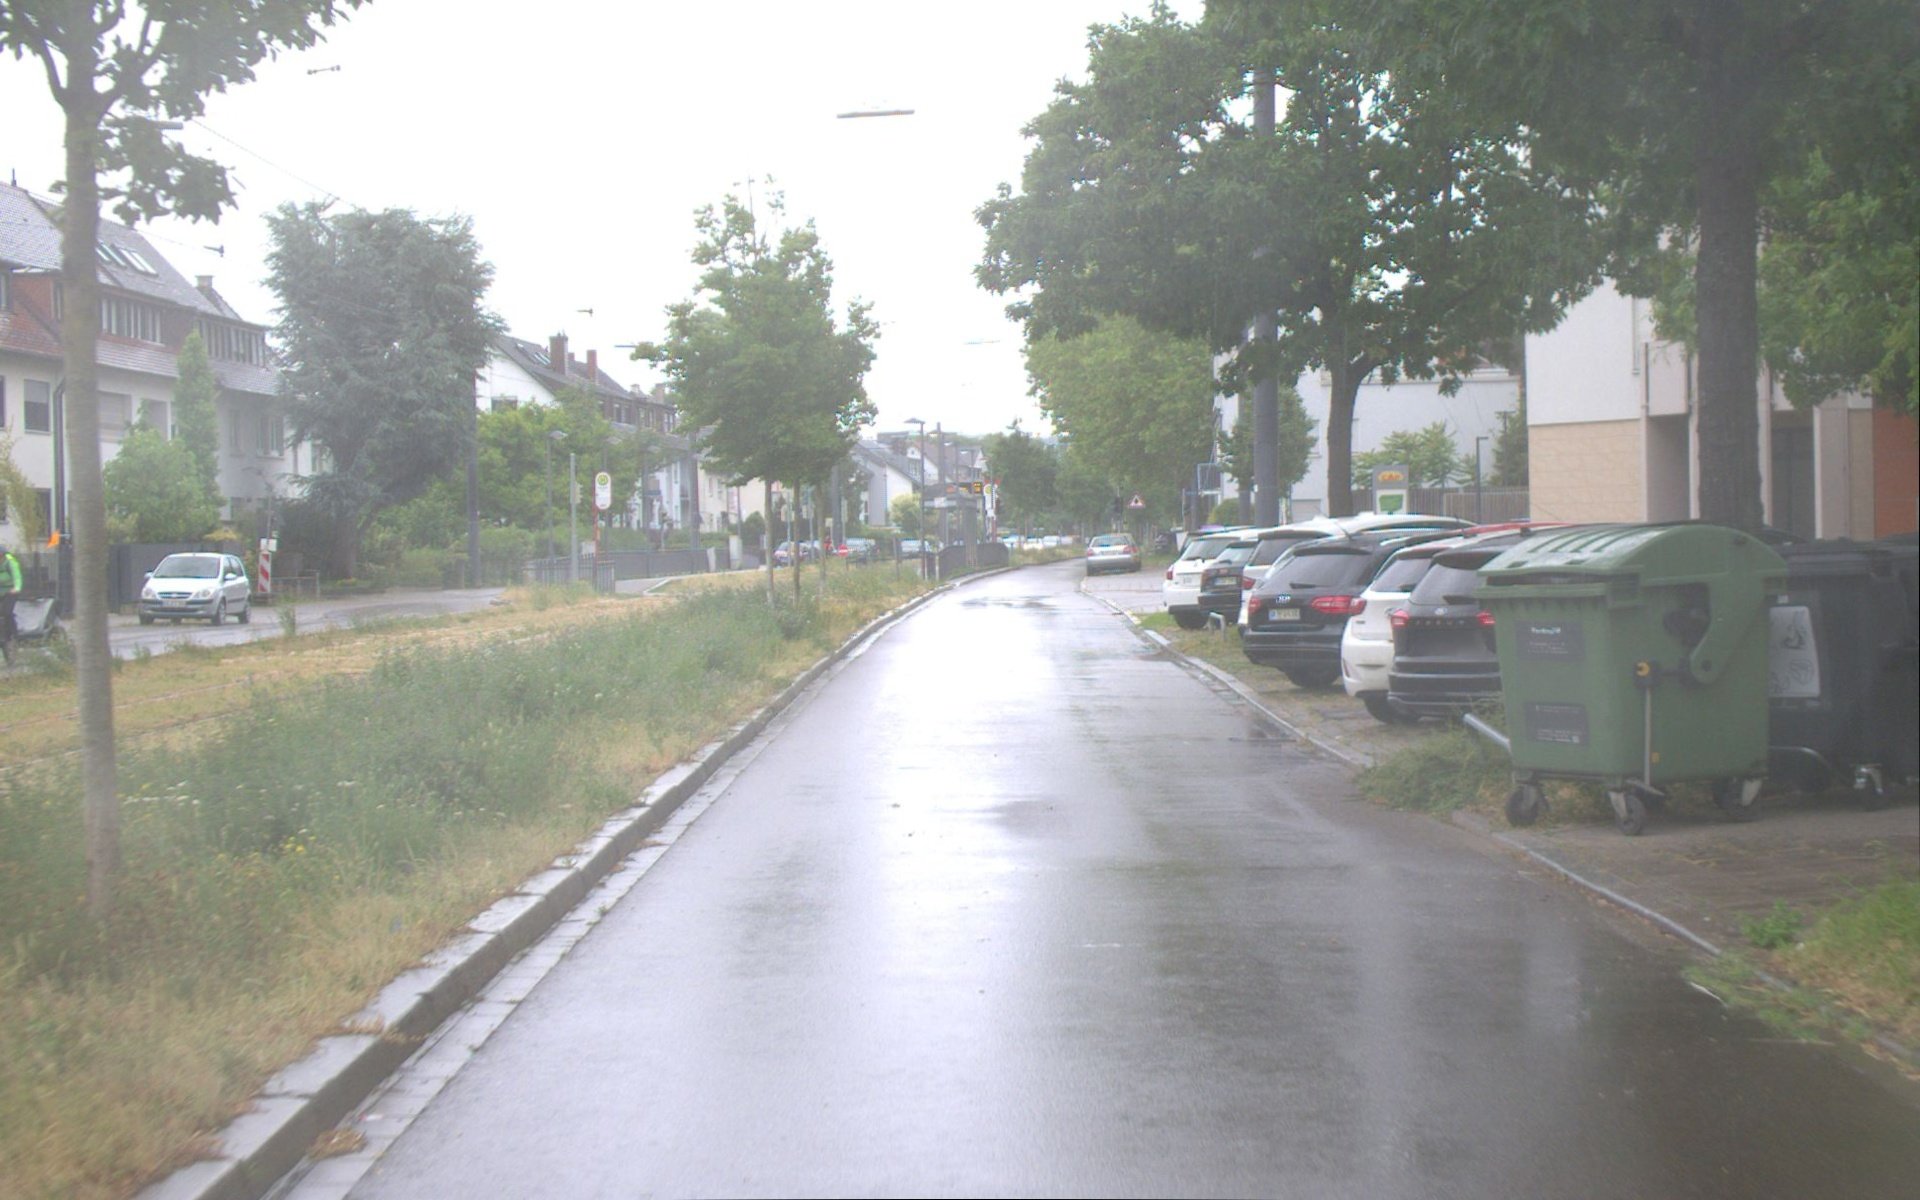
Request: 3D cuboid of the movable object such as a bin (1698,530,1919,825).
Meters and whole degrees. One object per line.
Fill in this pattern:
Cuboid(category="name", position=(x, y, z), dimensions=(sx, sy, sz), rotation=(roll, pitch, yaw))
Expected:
Cuboid(category="movable object such as a bin", position=(4.826, 0.336, 17.144), dimensions=(1.681, 1.321, 1.401), rotation=(-4, 2, -21))

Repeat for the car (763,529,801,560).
Cuboid(category="car", position=(-9.817, -3.080, 189.910), dimensions=(1.843, 1.666, 4.000), rotation=(-1, 1, 0))

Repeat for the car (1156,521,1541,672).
Cuboid(category="car", position=(4.156, -0.068, 36.475), dimensions=(4.029, 1.438, 1.585), rotation=(-2, 2, -36))

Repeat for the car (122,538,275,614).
Cuboid(category="car", position=(-15.656, -0.518, 70.907), dimensions=(1.897, 1.464, 4.687), rotation=(1, 1, 3))

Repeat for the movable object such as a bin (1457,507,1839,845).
Cuboid(category="movable object such as a bin", position=(3.346, 0.340, 16.832), dimensions=(1.125, 1.452, 1.401), rotation=(-8, 3, -21))

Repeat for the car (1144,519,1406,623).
Cuboid(category="car", position=(4.964, -0.473, 53.988), dimensions=(4.029, 1.508, 1.585), rotation=(-2, 2, -36))

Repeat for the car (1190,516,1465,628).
Cuboid(category="car", position=(5.484, -0.434, 51.142), dimensions=(4.029, 1.535, 1.585), rotation=(-2, 2, -36))

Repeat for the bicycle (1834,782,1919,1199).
Cuboid(category="bicycle", position=(2.147, 0.912, 5.306), dimensions=(0.809, 1.093, 2.517), rotation=(-2, 1, -3))

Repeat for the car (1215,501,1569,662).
Cuboid(category="car", position=(4.990, -0.239, 39.484), dimensions=(4.029, 1.697, 1.585), rotation=(-2, 2, -36))

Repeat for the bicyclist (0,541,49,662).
Cuboid(category="bicyclist", position=(-13.652, 0.022, 48.937), dimensions=(1.018, 1.679, 1.092), rotation=(-1, 1, 0))

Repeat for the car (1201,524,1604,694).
Cuboid(category="car", position=(4.249, 0.050, 32.627), dimensions=(4.030, 1.438, 1.584), rotation=(-3, 2, -44))

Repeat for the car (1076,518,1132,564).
Cuboid(category="car", position=(5.171, -2.143, 124.108), dimensions=(1.833, 1.580, 4.000), rotation=(-1, 1, 0))

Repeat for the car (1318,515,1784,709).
Cuboid(category="car", position=(5.212, 0.069, 30.129), dimensions=(4.028, 1.514, 1.585), rotation=(-2, 2, -34))

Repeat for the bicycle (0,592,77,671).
Cuboid(category="bicycle", position=(-13.645, 0.449, 49.535), dimensions=(1.018, 1.024, 3.197), rotation=(-1, 1, 0))

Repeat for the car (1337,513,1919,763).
Cuboid(category="car", position=(4.847, 0.204, 23.764), dimensions=(4.214, 1.514, 1.877), rotation=(-2, 2, -34))

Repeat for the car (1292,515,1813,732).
Cuboid(category="car", position=(4.689, 0.139, 26.992), dimensions=(4.028, 1.514, 1.585), rotation=(-2, 2, -34))
